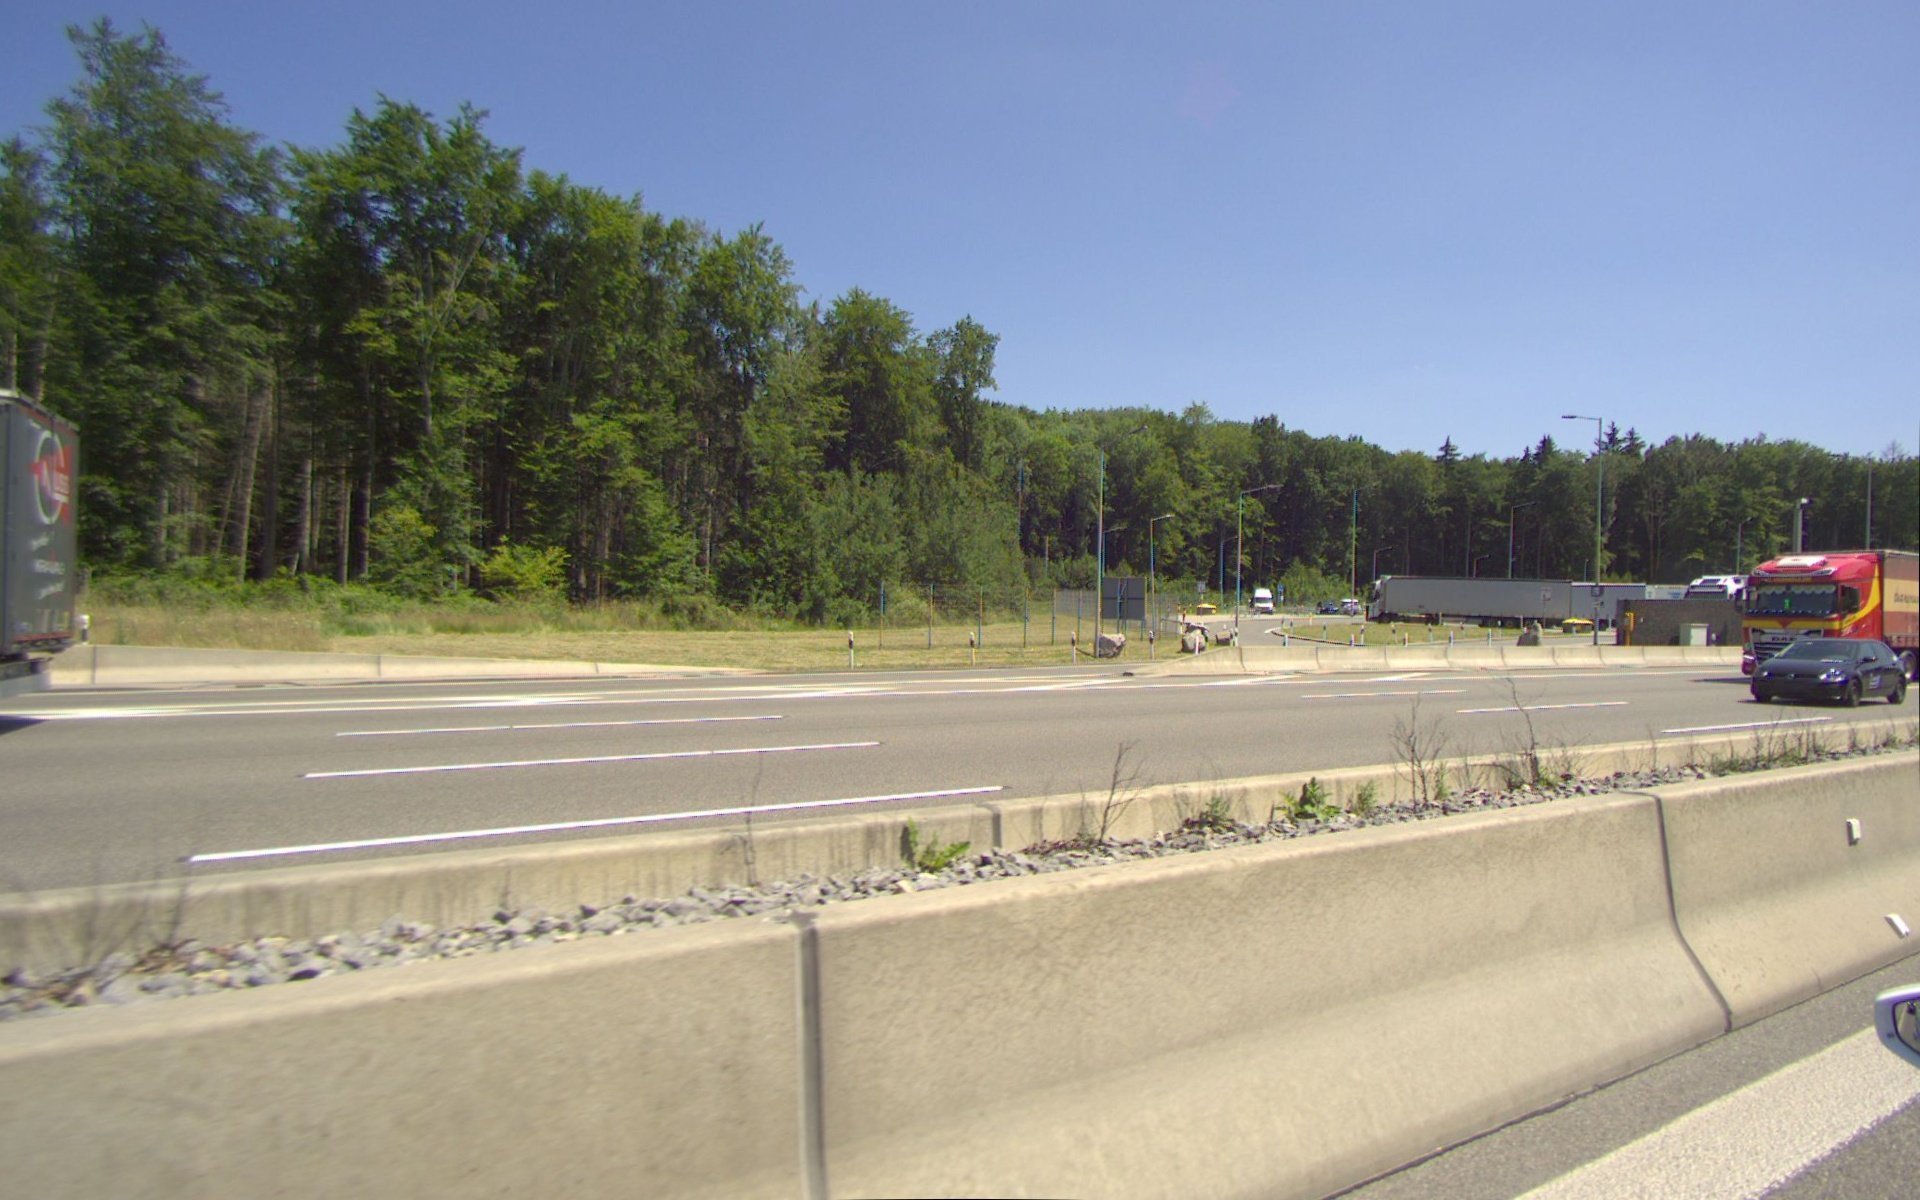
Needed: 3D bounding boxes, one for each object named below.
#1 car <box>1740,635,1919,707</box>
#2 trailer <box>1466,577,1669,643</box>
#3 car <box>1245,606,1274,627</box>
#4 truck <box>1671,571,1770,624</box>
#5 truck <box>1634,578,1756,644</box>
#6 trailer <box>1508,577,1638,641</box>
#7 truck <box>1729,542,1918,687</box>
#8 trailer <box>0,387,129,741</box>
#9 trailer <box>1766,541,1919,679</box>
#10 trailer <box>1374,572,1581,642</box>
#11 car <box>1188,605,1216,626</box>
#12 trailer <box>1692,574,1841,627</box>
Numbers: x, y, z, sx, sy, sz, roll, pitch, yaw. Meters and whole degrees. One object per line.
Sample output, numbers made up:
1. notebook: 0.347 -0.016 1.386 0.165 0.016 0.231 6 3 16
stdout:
1. car: 19.383 1.518 22.313 4.265 1.406 1.812 1 -1 -31
2. trailer: 51.108 0.805 85.019 14.272 5.140 3.225 1 0 15
3. car: 30.278 1.626 101.757 1.960 2.040 4.002 1 -1 4
4. truck: 48.813 -0.110 64.446 6.130 3.165 2.912 2 0 -31
5. truck: 66.906 0.966 91.658 8.317 5.687 3.230 1 0 15
6. trailer: 57.309 0.795 94.170 9.739 5.687 3.230 1 0 15
7. truck: 26.830 0.490 31.152 6.397 4.103 2.515 1 0 -31
8. trailer: -17.401 -0.552 9.585 14.112 4.054 3.326 2 -1 -31
9. trailer: 32.308 0.456 34.411 14.017 4.103 2.558 1 0 -31
10. trailer: 41.012 0.519 80.306 14.272 5.140 3.131 1 0 15
11. car: 24.172 1.543 100.474 1.960 2.040 4.002 1 -1 4
12. trailer: 54.749 0.134 67.960 14.440 3.165 2.957 2 0 -31
